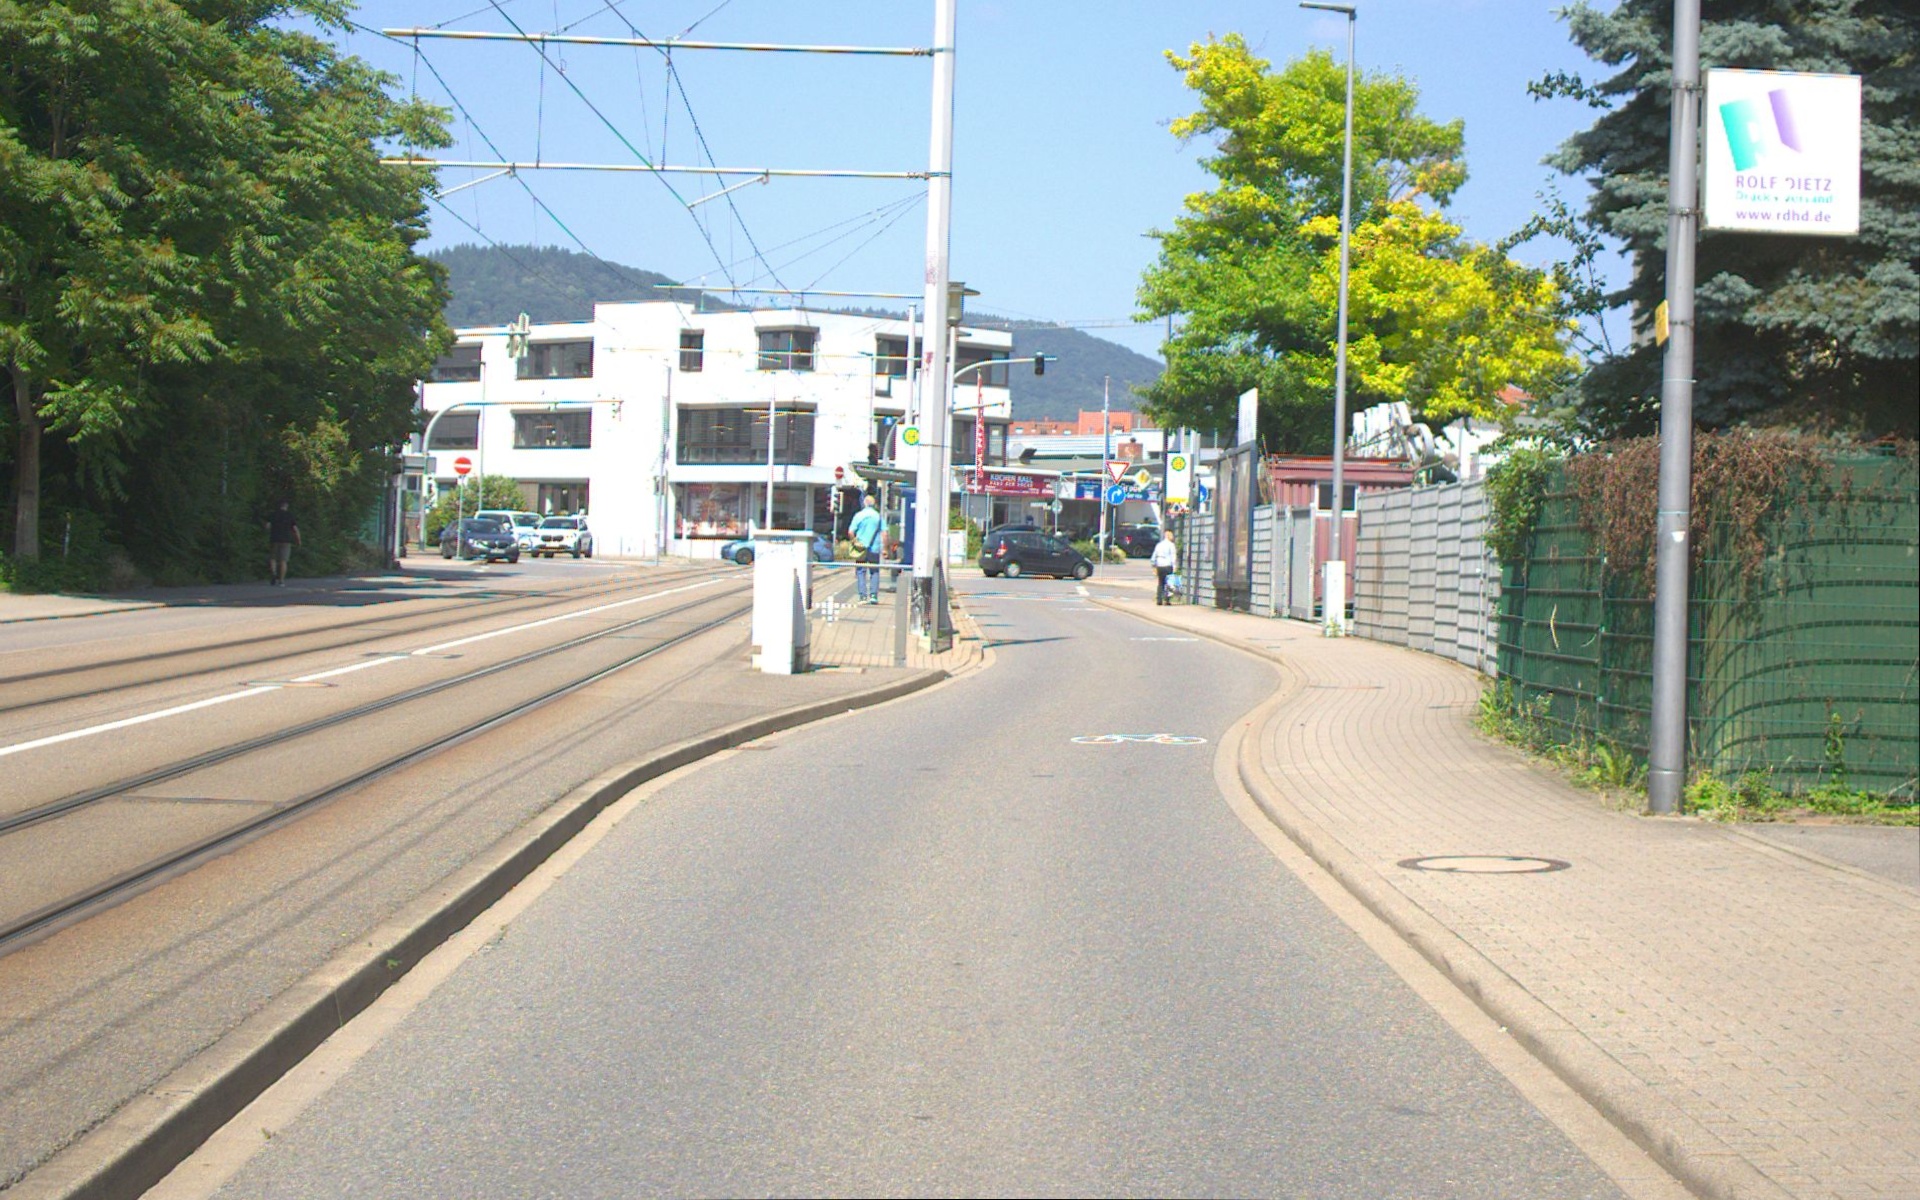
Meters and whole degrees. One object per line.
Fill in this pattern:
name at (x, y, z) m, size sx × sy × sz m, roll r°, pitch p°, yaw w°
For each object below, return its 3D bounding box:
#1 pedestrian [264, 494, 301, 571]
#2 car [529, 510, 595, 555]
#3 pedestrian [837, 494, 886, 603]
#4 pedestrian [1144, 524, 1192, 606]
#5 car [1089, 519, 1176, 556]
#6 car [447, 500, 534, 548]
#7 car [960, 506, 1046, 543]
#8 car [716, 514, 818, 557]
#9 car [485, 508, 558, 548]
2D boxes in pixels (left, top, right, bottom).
pedestrian at (-13.613, -1.355, 69.093) m, size 0.584 × 1.532 × 0.657 m, roll 1°, pitch 1°, yaw -1°
car at (-15.128, -2.572, 130.976) m, size 1.756 × 1.641 × 3.761 m, roll 1°, pitch 1°, yaw 5°
pedestrian at (-1.592, -0.828, 55.497) m, size 0.743 × 1.734 × 0.727 m, roll 1°, pitch 1°, yaw -1°
pedestrian at (4.685, -0.789, 77.594) m, size 0.940 × 1.781 × 0.953 m, roll 2°, pitch 2°, yaw -1°
car at (8.097, -2.914, 161.500) m, size 3.989 × 1.656 × 1.864 m, roll 0°, pitch 2°, yaw -45°
car at (-15.919, -2.581, 116.478) m, size 1.786 × 1.546 × 4.001 m, roll 0°, pitch 1°, yaw -25°
car at (2.060, -3.592, 163.753) m, size 3.989 × 1.656 × 1.734 m, roll 0°, pitch 2°, yaw -43°
car at (-7.855, -2.629, 139.702) m, size 3.892 × 1.674 × 1.732 m, roll 1°, pitch 1°, yaw -12°
car at (-18.694, -3.090, 146.515) m, size 1.926 × 1.641 × 3.763 m, roll 0°, pitch 1°, yaw -26°
